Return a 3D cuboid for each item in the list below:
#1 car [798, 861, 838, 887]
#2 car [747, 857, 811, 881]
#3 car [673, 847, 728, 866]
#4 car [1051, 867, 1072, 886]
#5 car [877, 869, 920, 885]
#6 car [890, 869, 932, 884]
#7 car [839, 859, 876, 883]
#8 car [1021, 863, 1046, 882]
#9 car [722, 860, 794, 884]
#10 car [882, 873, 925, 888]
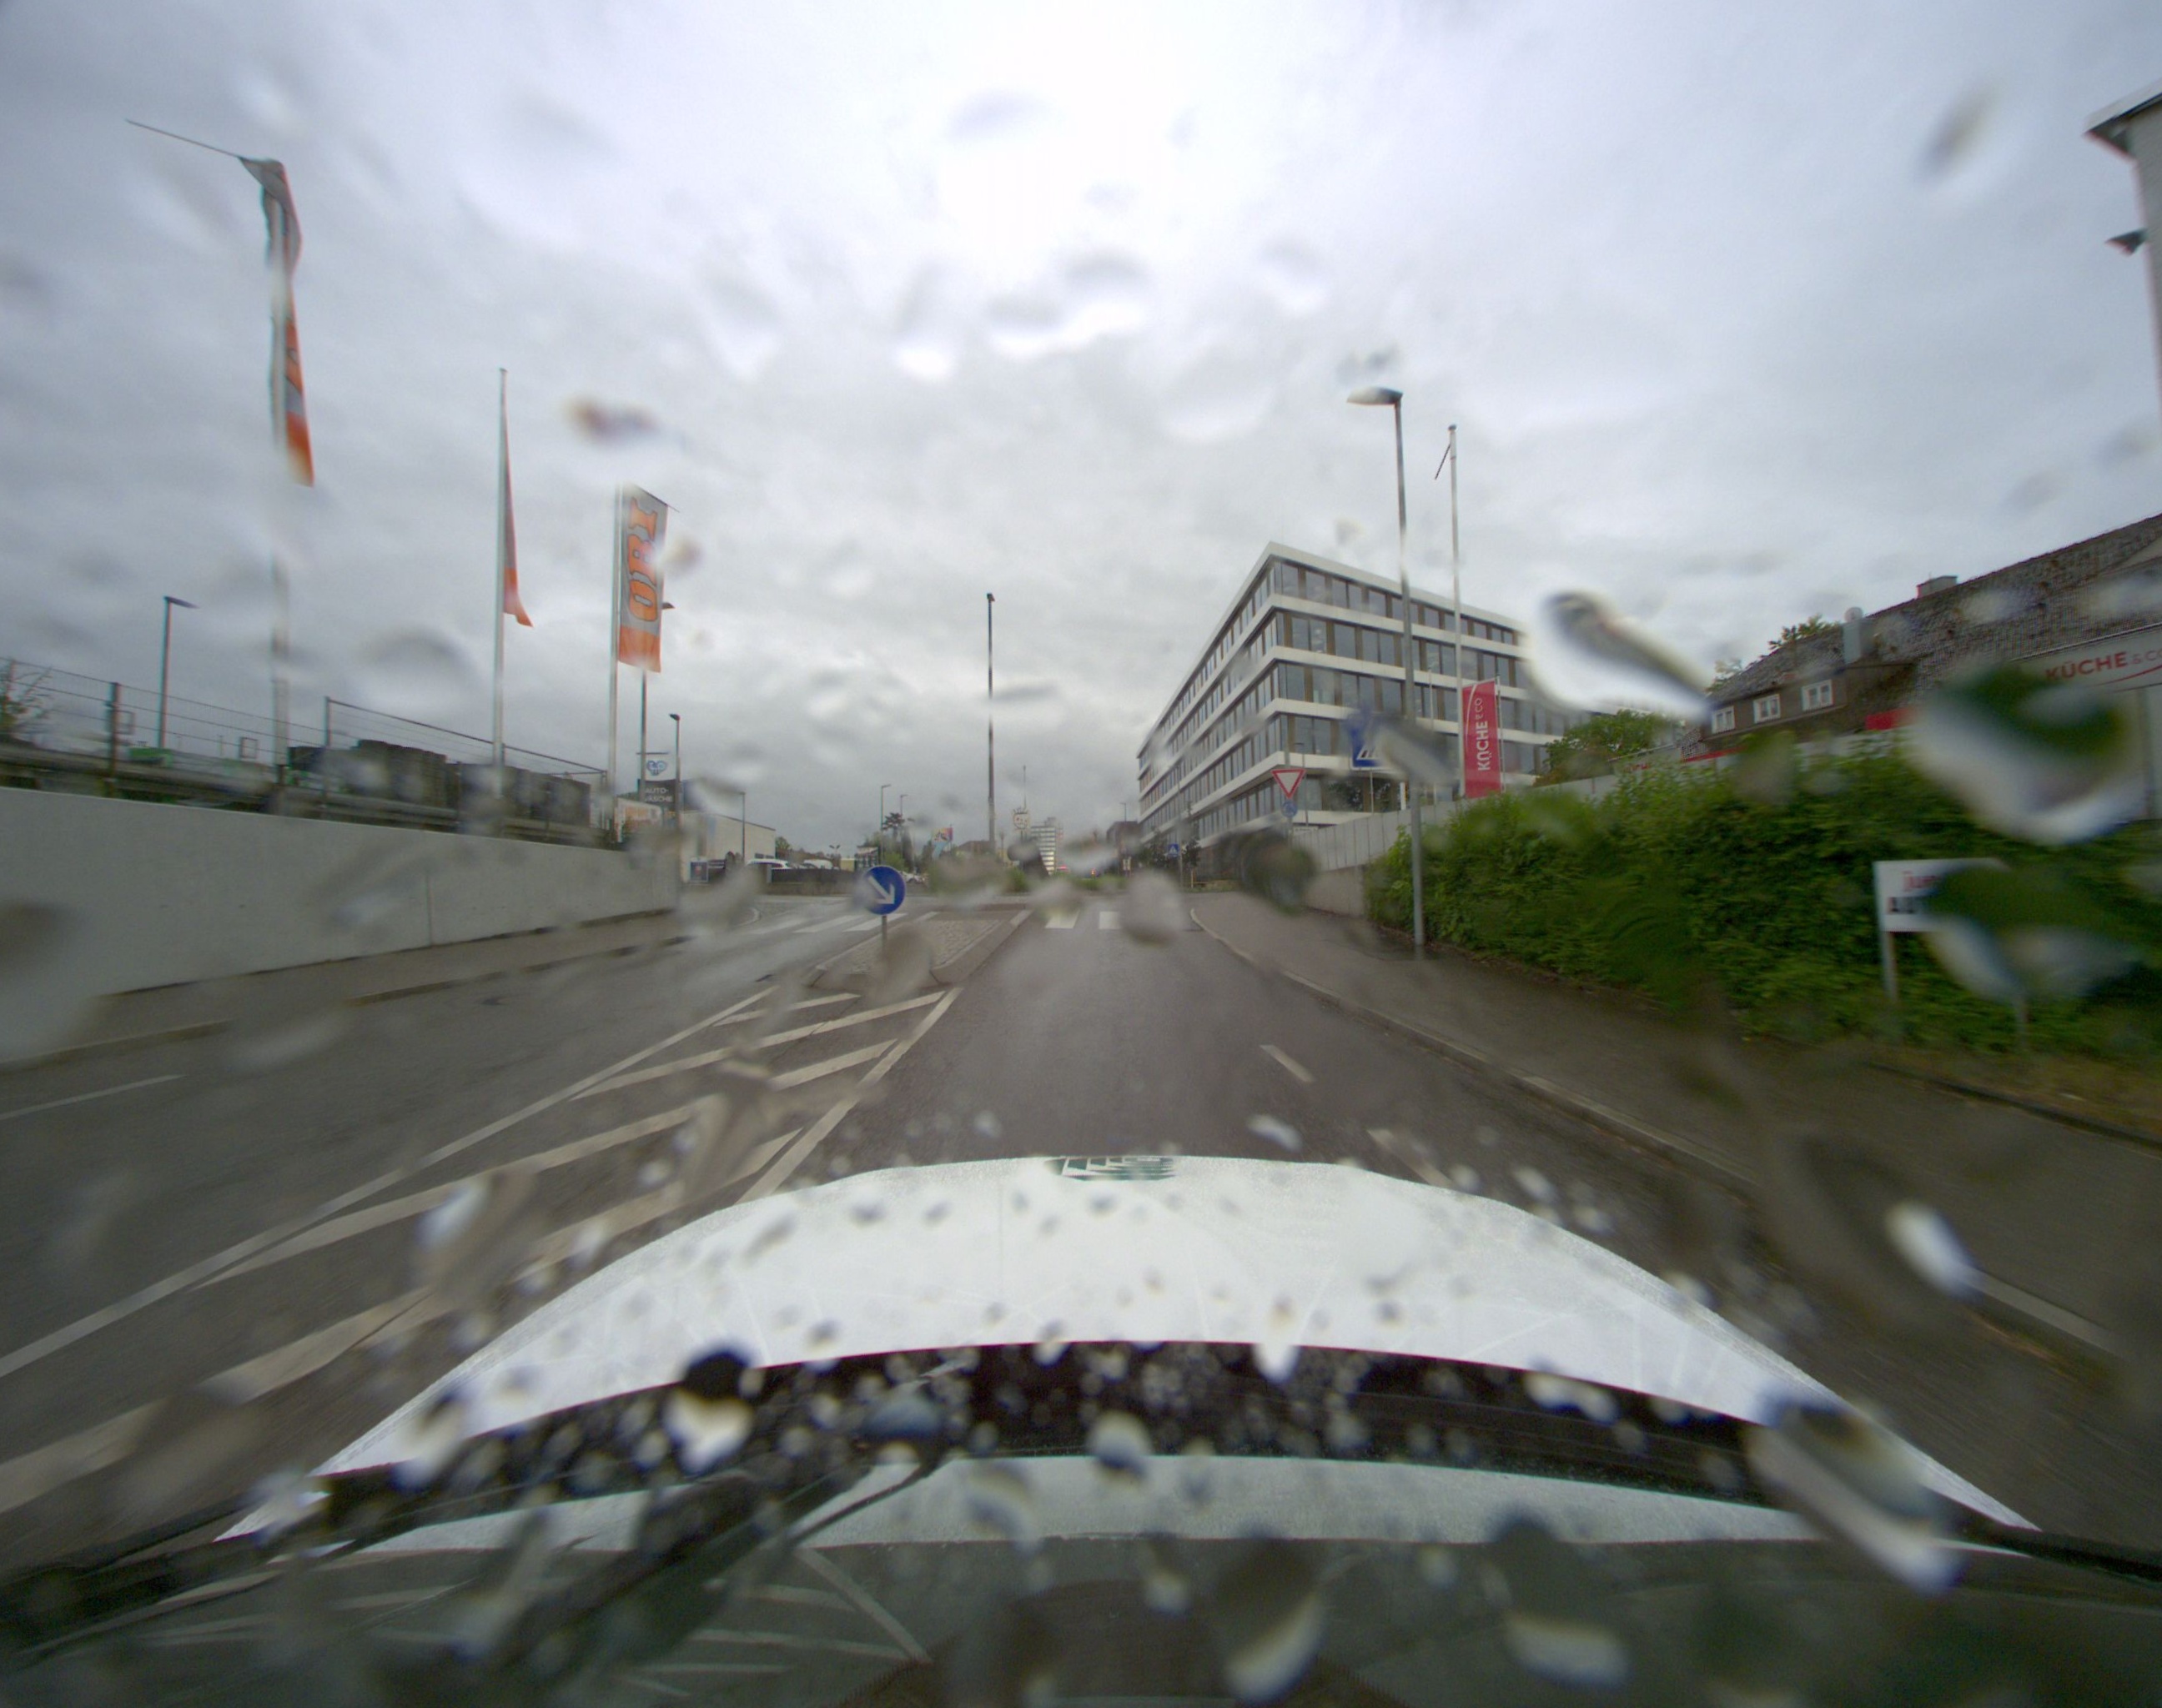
[{"bbox_3d":[-21.618,1.610,67.140,1.989,2.014,4.993,1,0,-4],"label":"car"},{"bbox_3d":[-19.204,0.981,51.874,3.522,1.420,1.427,1,-4,-4],"label":"car"},{"bbox_3d":[-29.313,0.161,62.791,3.522,1.420,1.427,1,0,-4],"label":"car"},{"bbox_3d":[-2.055,2.463,88.326,1.986,1.904,4.001,1,-4,2],"label":"car"},{"bbox_3d":[-18.262,2.314,81.746,4.016,1.420,1.764,1,-4,-6],"label":"car"},{"bbox_3d":[-17.956,2.407,86.049,4.013,1.420,1.766,1,-4,-4],"label":"car"},{"bbox_3d":[-19.407,1.422,70.835,1.989,2.014,4.995,1,0,-3],"label":"car"},{"bbox_3d":[-3.796,1.479,65.631,1.588,1.409,3.503,1,0,3],"label":"car"},{"bbox_3d":[-19.488,1.114,49.291,3.522,1.286,1.997,1,-4,-4],"label":"car"},{"bbox_3d":[-18.300,2.724,83.935,4.013,1.420,1.766,1,-4,-4],"label":"car"}]
